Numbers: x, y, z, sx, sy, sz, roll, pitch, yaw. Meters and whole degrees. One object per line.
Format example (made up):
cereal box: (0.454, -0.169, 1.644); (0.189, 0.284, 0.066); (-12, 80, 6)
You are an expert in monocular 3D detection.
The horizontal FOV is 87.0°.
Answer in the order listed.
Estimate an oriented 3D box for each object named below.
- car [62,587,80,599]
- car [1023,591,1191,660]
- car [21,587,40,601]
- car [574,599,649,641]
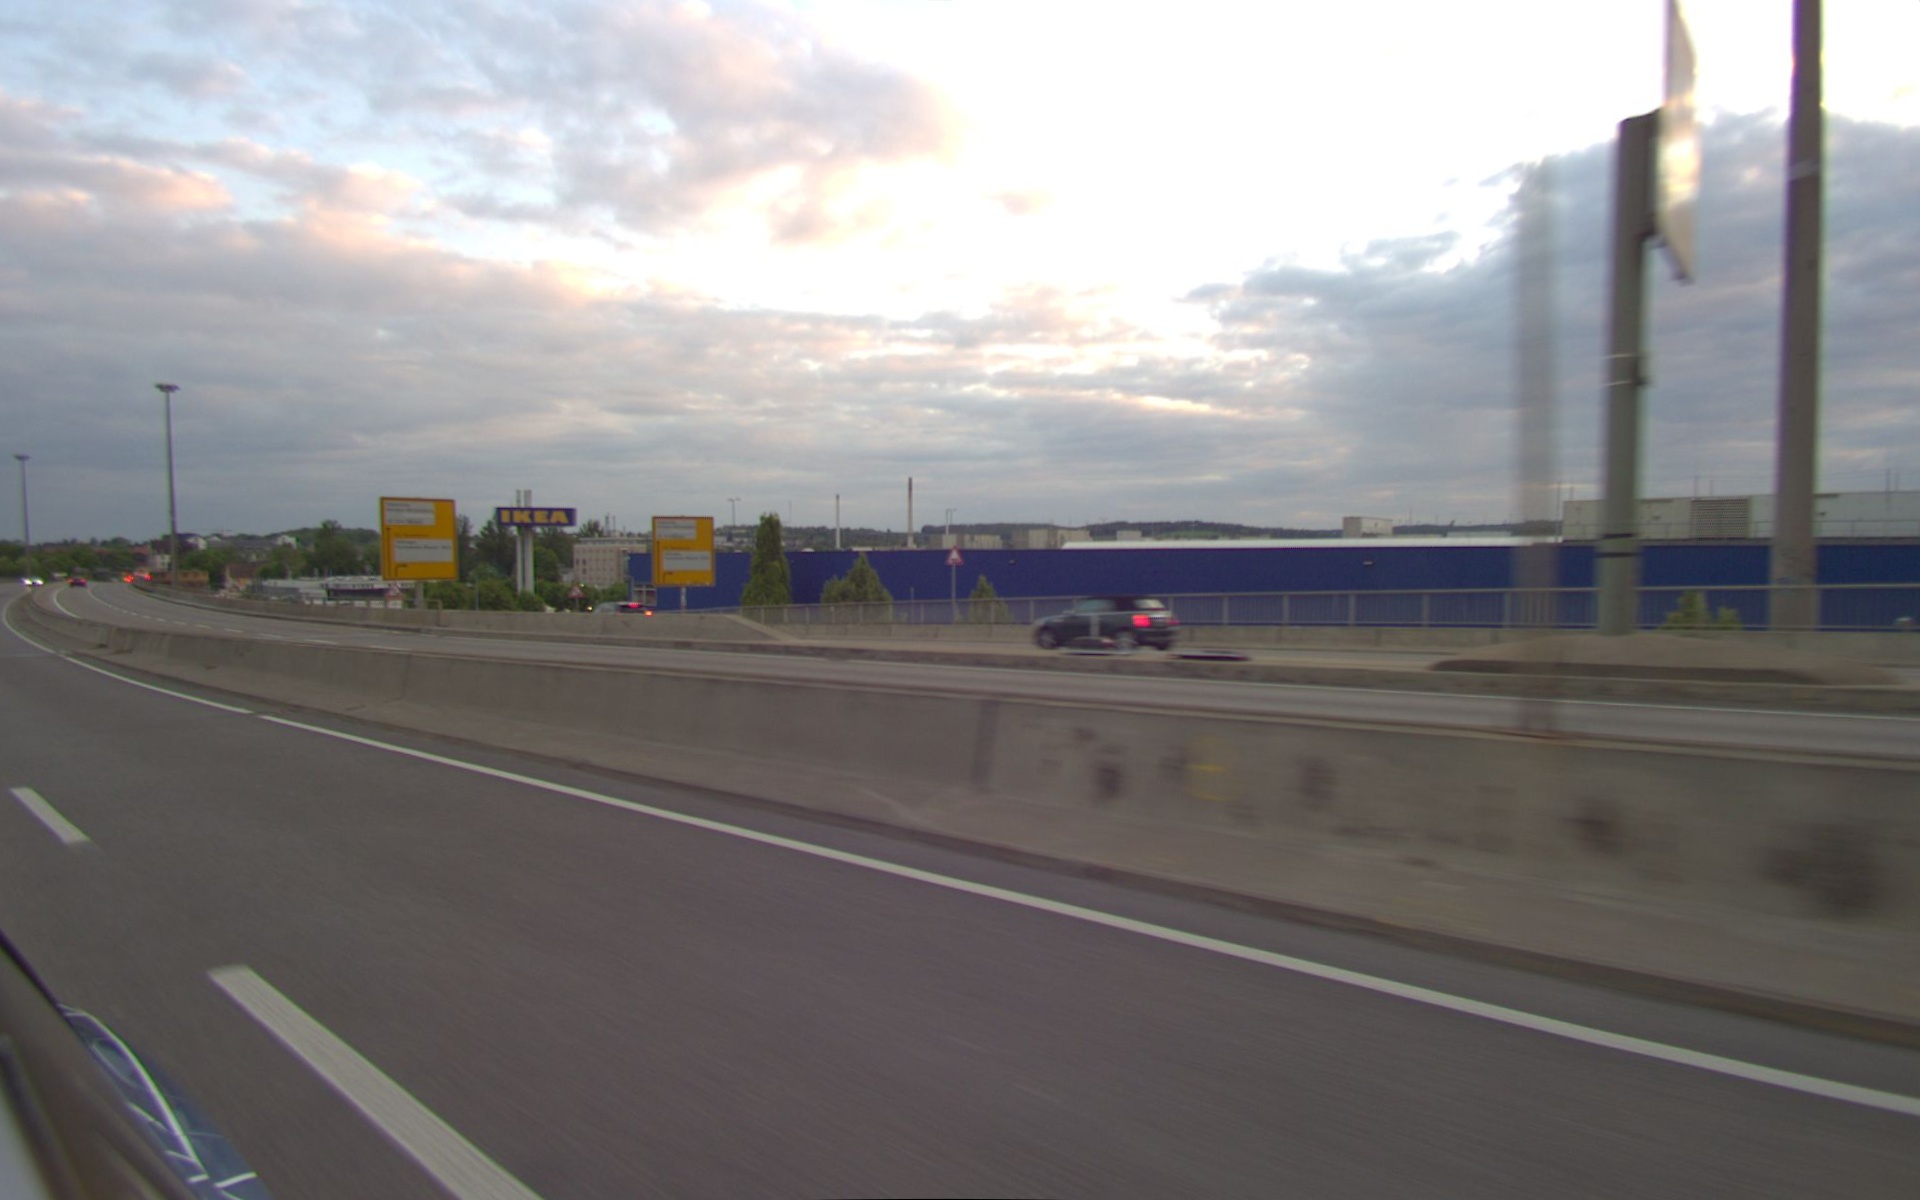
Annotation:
car: (-123.488, -0.998, 140.622); (1.807, 1.491, 4.293); (-1, 2, -42)
car: (3.576, 0.574, 25.045); (3.843, 1.497, 1.776); (2, 2, 44)
car: (-141.047, -0.950, 153.579); (1.969, 2.029, 4.006); (-1, 1, -40)
car: (-15.530, 0.860, 45.039); (1.617, 1.730, 4.003); (-1, 0, -44)
